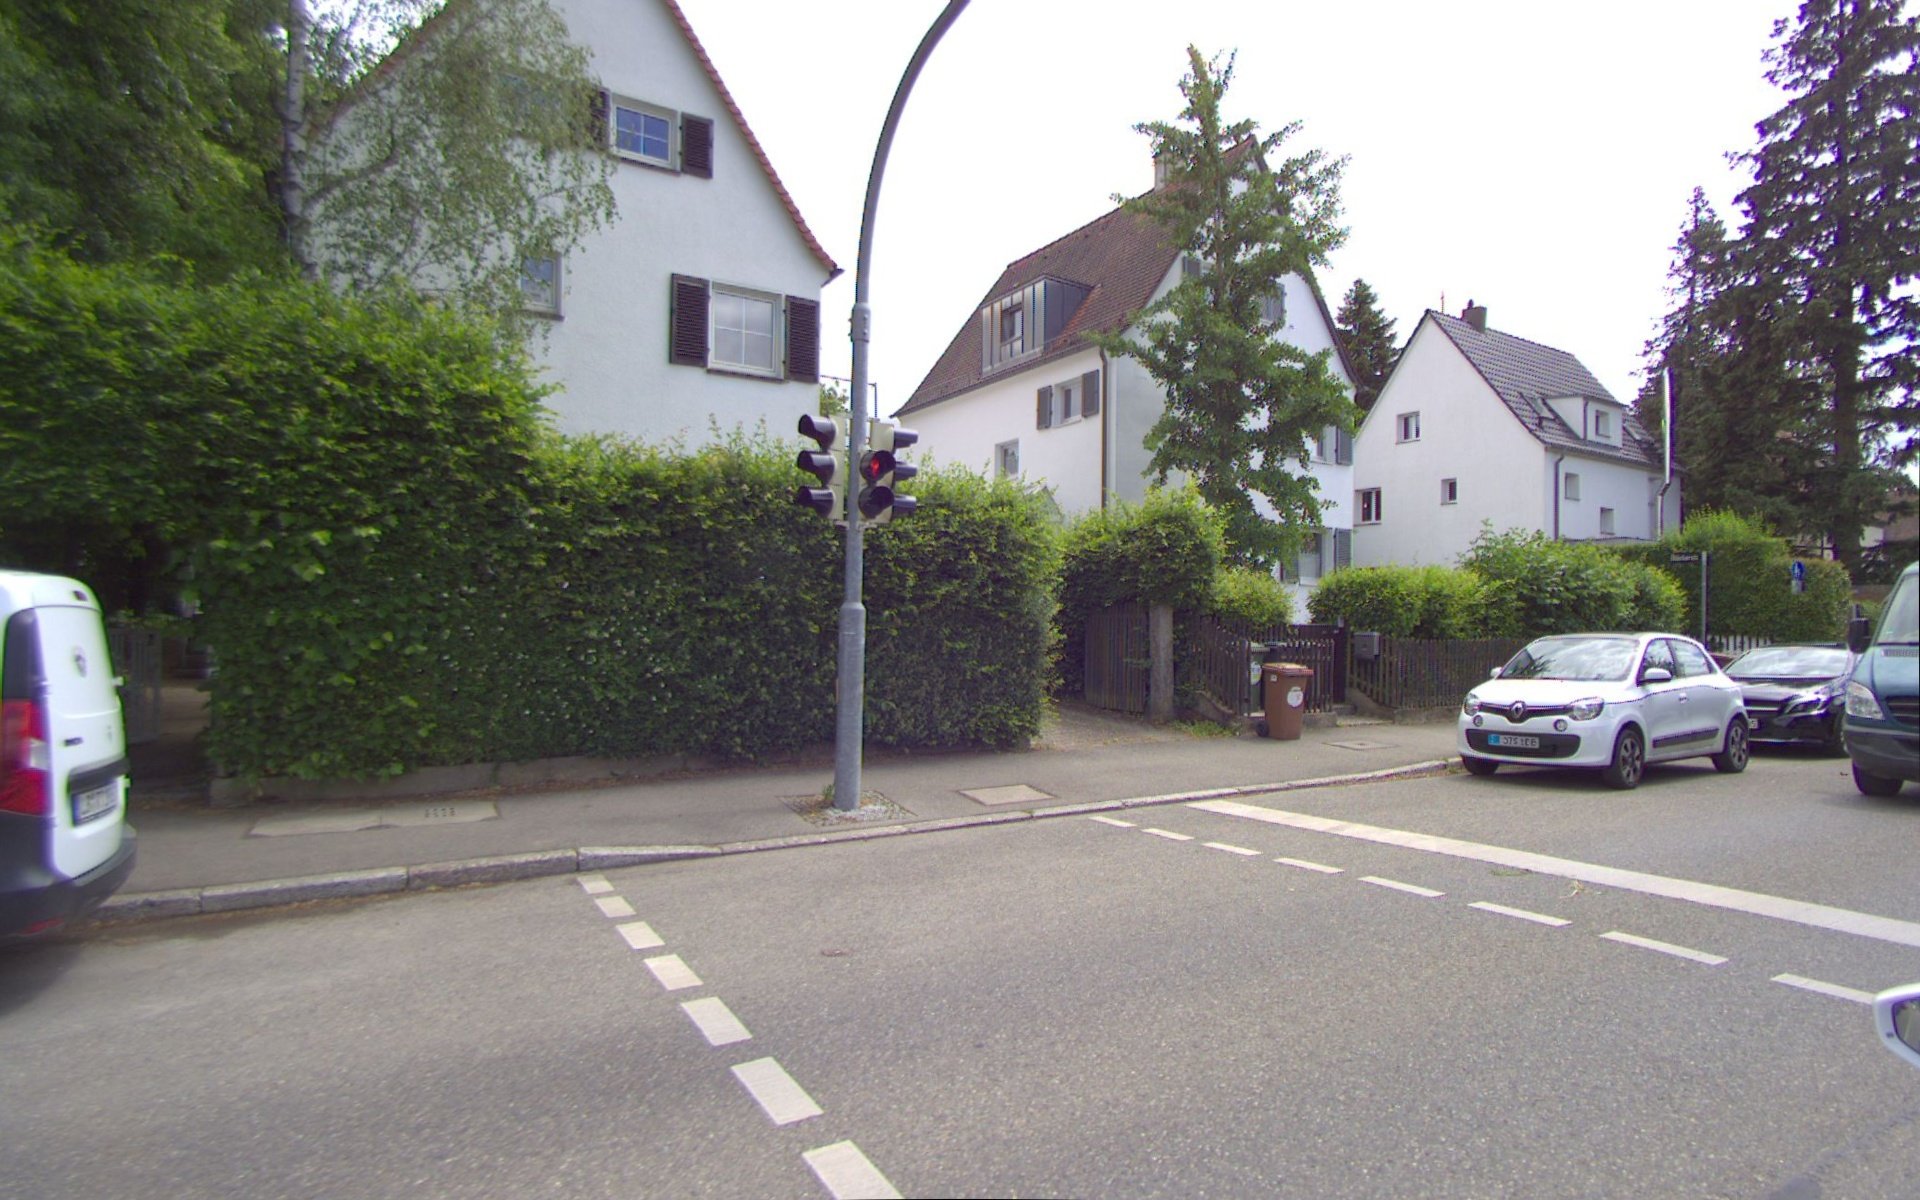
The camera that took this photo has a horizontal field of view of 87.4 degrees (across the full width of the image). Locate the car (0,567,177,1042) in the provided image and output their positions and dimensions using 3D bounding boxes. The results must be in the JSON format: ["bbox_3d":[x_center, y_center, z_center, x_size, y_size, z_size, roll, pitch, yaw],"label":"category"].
[{"bbox_3d":[-5.723,0.768,3.459,4.555,1.781,1.668,1,-3,-32],"label":"car"}]

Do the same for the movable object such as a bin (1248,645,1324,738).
[{"bbox_3d":[4.128,1.146,12.721,0.740,1.095,0.513,1,2,-30],"label":"movable object such as a bin"}]

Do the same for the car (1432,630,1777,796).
[{"bbox_3d":[7.202,1.134,11.188,3.698,1.563,1.695,1,-3,-30],"label":"car"}]

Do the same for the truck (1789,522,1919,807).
[{"bbox_3d":[11.143,0.589,10.029,6.823,2.403,2.179,1,-2,-30],"label":"truck"}]

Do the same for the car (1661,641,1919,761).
[{"bbox_3d":[11.809,1.291,13.946,4.271,1.429,1.735,1,-3,-30],"label":"car"}]
